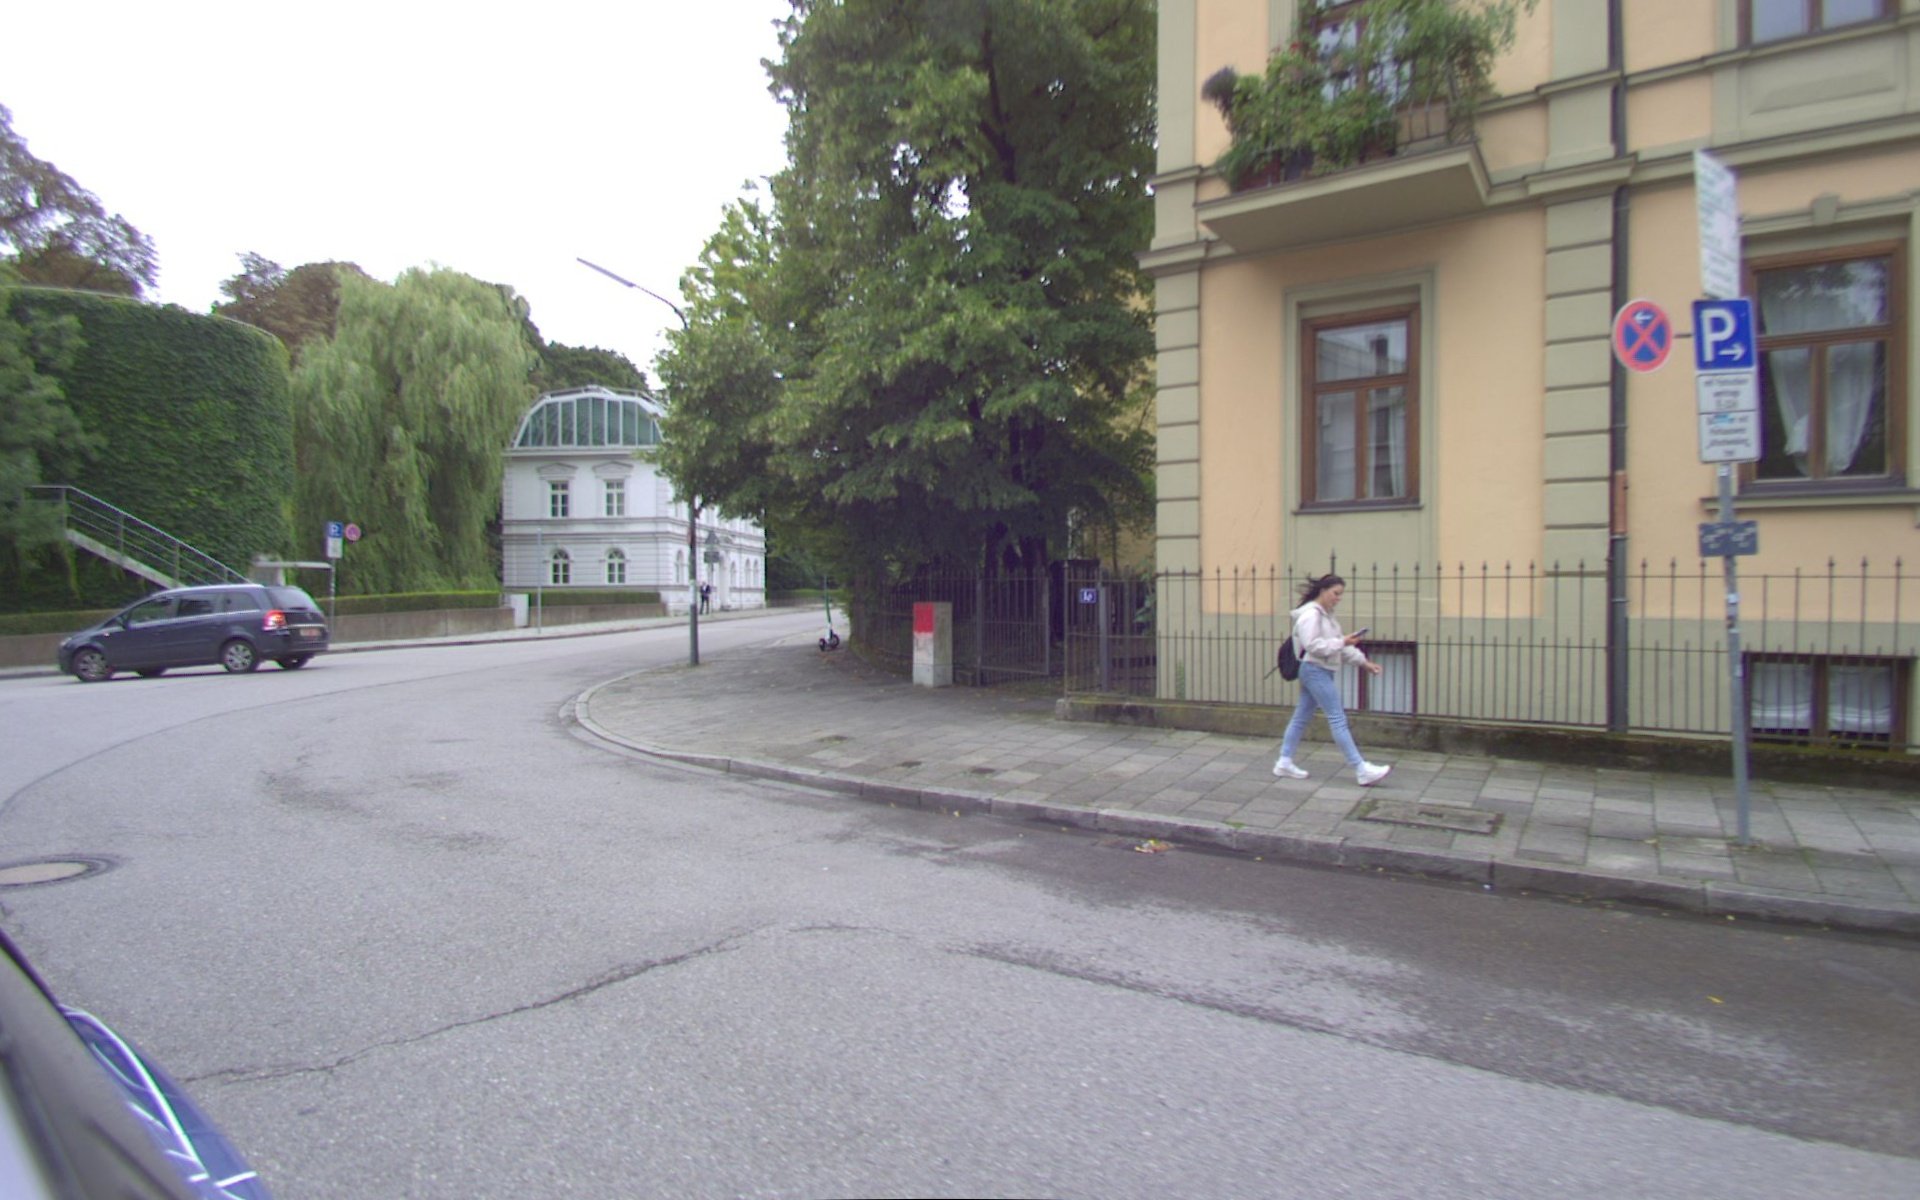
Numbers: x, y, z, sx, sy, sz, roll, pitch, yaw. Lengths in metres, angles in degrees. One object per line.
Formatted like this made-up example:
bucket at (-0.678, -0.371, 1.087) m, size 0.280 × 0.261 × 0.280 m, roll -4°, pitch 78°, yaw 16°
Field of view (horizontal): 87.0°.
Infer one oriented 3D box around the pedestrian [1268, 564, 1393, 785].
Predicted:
pedestrian at (2.889, 0.543, 7.879) m, size 0.739 × 1.615 × 0.647 m, roll -1°, pitch 1°, yaw 38°

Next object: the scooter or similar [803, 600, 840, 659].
scooter or similar at (-3.027, 0.631, 22.166) m, size 0.387 × 1.198 × 1.417 m, roll -5°, pitch 0°, yaw 6°

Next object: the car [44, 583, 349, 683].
car at (-14.308, 0.581, 19.158) m, size 4.274 × 1.706 × 2.000 m, roll -1°, pitch 1°, yaw 1°

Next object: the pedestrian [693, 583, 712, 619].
pedestrian at (-12.917, 0.047, 50.709) m, size 0.671 × 1.718 × 0.768 m, roll 3°, pitch 2°, yaw 2°
